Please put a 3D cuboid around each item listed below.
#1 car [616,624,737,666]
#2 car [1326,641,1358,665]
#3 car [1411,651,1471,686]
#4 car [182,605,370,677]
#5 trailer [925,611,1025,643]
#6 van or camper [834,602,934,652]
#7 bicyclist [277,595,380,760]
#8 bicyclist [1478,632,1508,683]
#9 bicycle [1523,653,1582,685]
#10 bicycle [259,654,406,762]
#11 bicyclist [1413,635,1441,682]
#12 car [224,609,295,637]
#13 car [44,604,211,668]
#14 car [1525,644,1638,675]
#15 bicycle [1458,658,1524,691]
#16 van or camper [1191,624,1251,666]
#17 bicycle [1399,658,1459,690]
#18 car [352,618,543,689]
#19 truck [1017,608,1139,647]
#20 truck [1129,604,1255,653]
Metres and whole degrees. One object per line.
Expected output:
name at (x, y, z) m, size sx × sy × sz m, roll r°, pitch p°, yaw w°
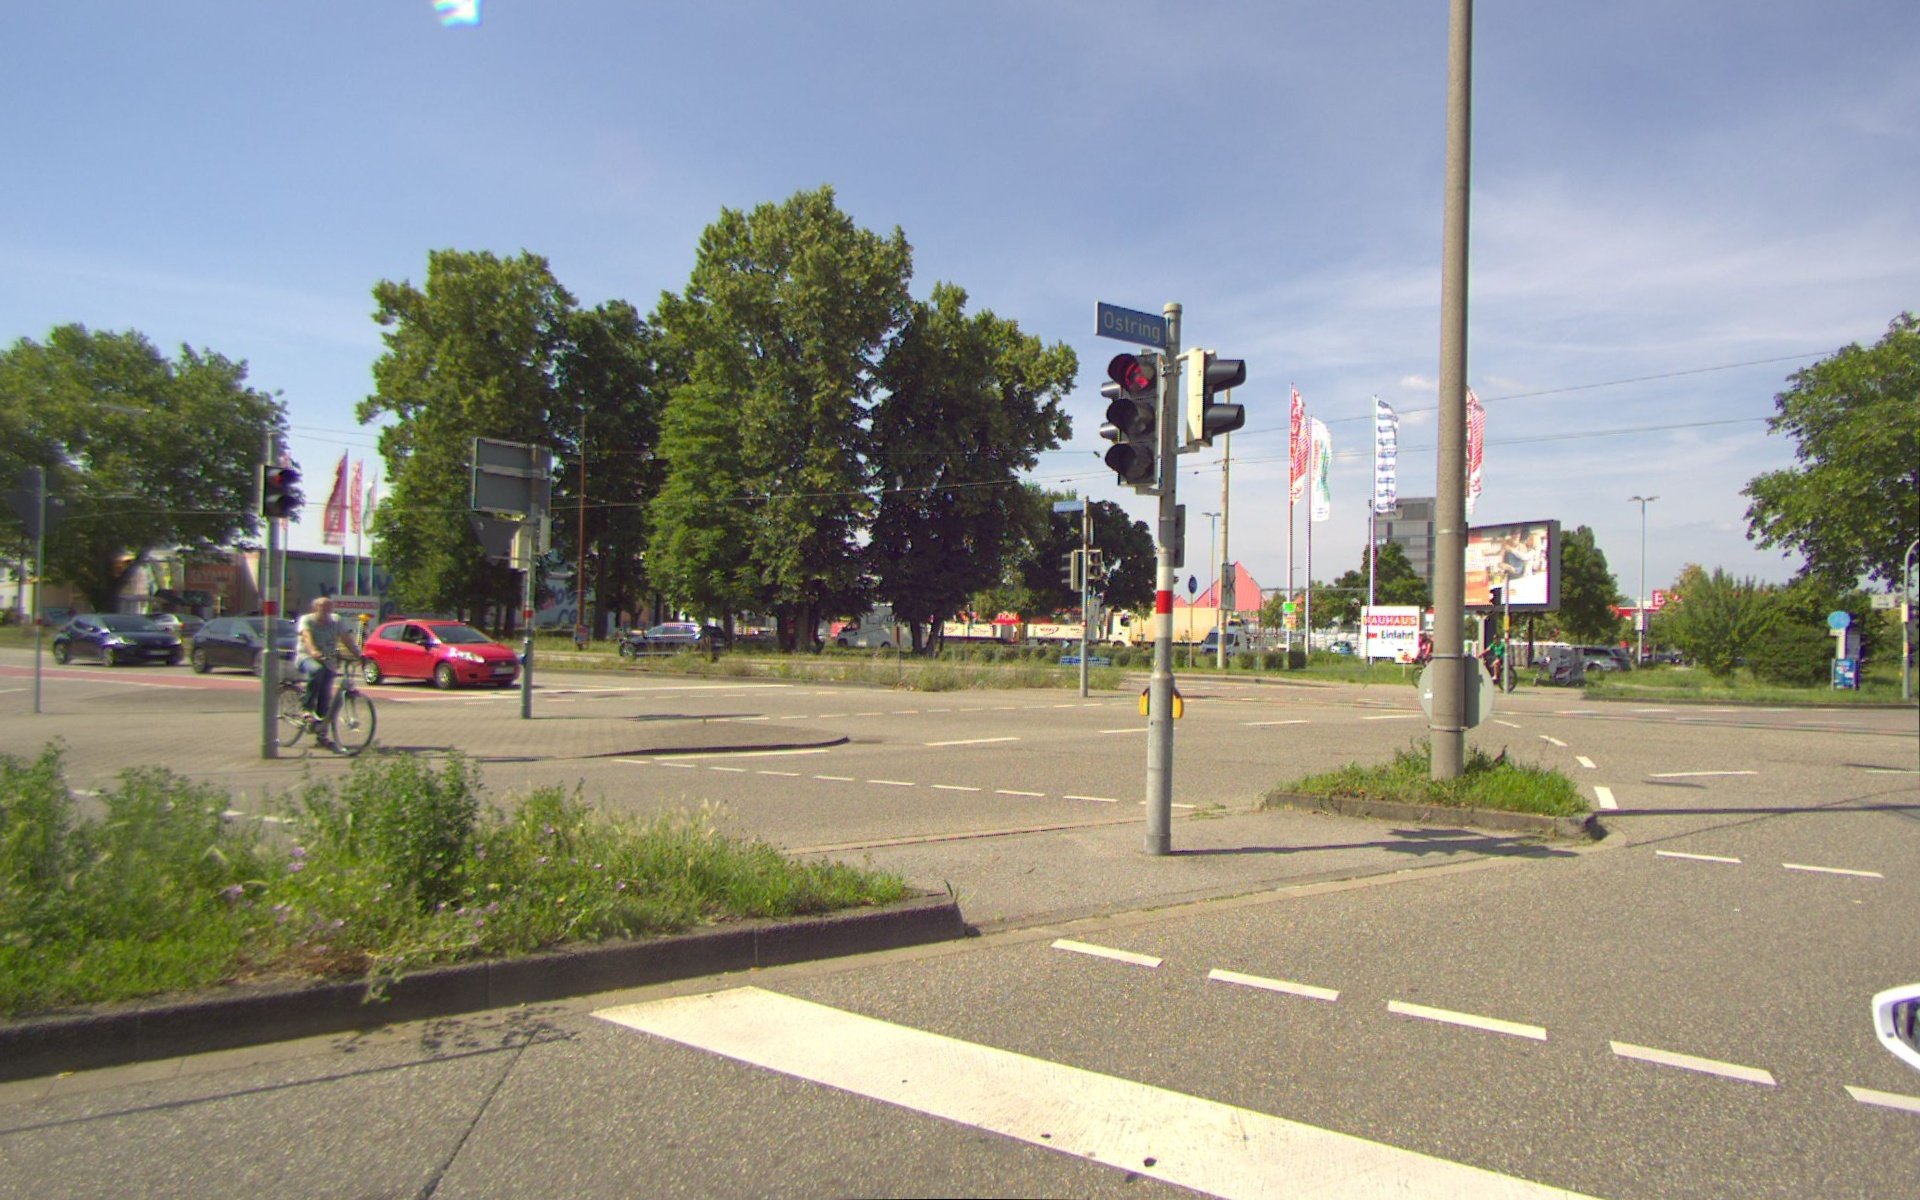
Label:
car at (-10.853, 1.710, 38.510) m, size 4.137 × 1.462 × 1.791 m, roll 1°, pitch -2°, yaw 16°
car at (26.685, 3.655, 70.044) m, size 1.787 × 1.593 × 4.277 m, roll 1°, pitch -2°, yaw 25°
car at (24.993, 3.518, 52.327) m, size 2.157 × 1.593 × 4.579 m, roll 1°, pitch -2°, yaw 18°
car at (-17.627, 1.036, 25.930) m, size 3.920 × 1.721 × 2.001 m, roll 0°, pitch -2°, yaw 18°
trailer at (1.282, 2.324, 86.032) m, size 8.057 × 2.523 × 2.924 m, roll 0°, pitch -2°, yaw 26°
van or camper at (-5.125, 1.825, 67.766) m, size 6.207 × 3.141 × 2.709 m, roll 1°, pitch -1°, yaw 27°
bicyclist at (-7.281, 0.866, 11.589) m, size 0.754 × 1.812 × 0.704 m, roll 0°, pitch -1°, yaw 31°
bicyclist at (16.169, 1.745, 30.502) m, size 0.599 × 1.511 × 0.528 m, roll 2°, pitch -1°, yaw -14°
bicycle at (20.065, 2.343, 34.037) m, size 1.864 × 1.051 × 0.594 m, roll 2°, pitch -2°, yaw -16°
bicycle at (-7.244, 1.199, 11.555) m, size 2.128 × 1.078 × 0.524 m, roll 0°, pitch -2°, yaw 32°
bicyclist at (14.439, 1.810, 31.062) m, size 0.598 × 1.432 × 0.529 m, roll 1°, pitch -1°, yaw -7°
car at (-52.698, 1.763, 75.598) m, size 1.971 × 2.040 × 3.979 m, roll 0°, pitch -2°, yaw 42°
car at (-24.273, 1.027, 29.318) m, size 3.921 × 1.721 × 2.000 m, roll 0°, pitch -2°, yaw 19°
car at (32.272, 3.073, 52.256) m, size 2.180 × 1.432 × 4.530 m, roll 3°, pitch -2°, yaw -36°
bicycle at (16.110, 2.271, 30.482) m, size 1.963 × 0.950 × 0.416 m, roll 2°, pitch -1°, yaw -13°
van or camper at (14.859, 2.525, 56.977) m, size 2.155 × 2.239 × 5.513 m, roll 1°, pitch -2°, yaw 27°
bicycle at (14.469, 2.279, 31.014) m, size 1.719 × 0.950 × 0.434 m, roll 2°, pitch -1°, yaw -8°
car at (-11.704, 1.179, 22.936) m, size 3.924 × 1.468 × 1.846 m, roll 0°, pitch -2°, yaw 25°
truck at (9.597, 2.224, 81.893) m, size 9.431 × 2.930 × 2.925 m, roll 0°, pitch -2°, yaw 24°
truck at (17.297, 2.098, 74.991) m, size 8.754 × 3.355 × 3.159 m, roll 0°, pitch -2°, yaw 24°
